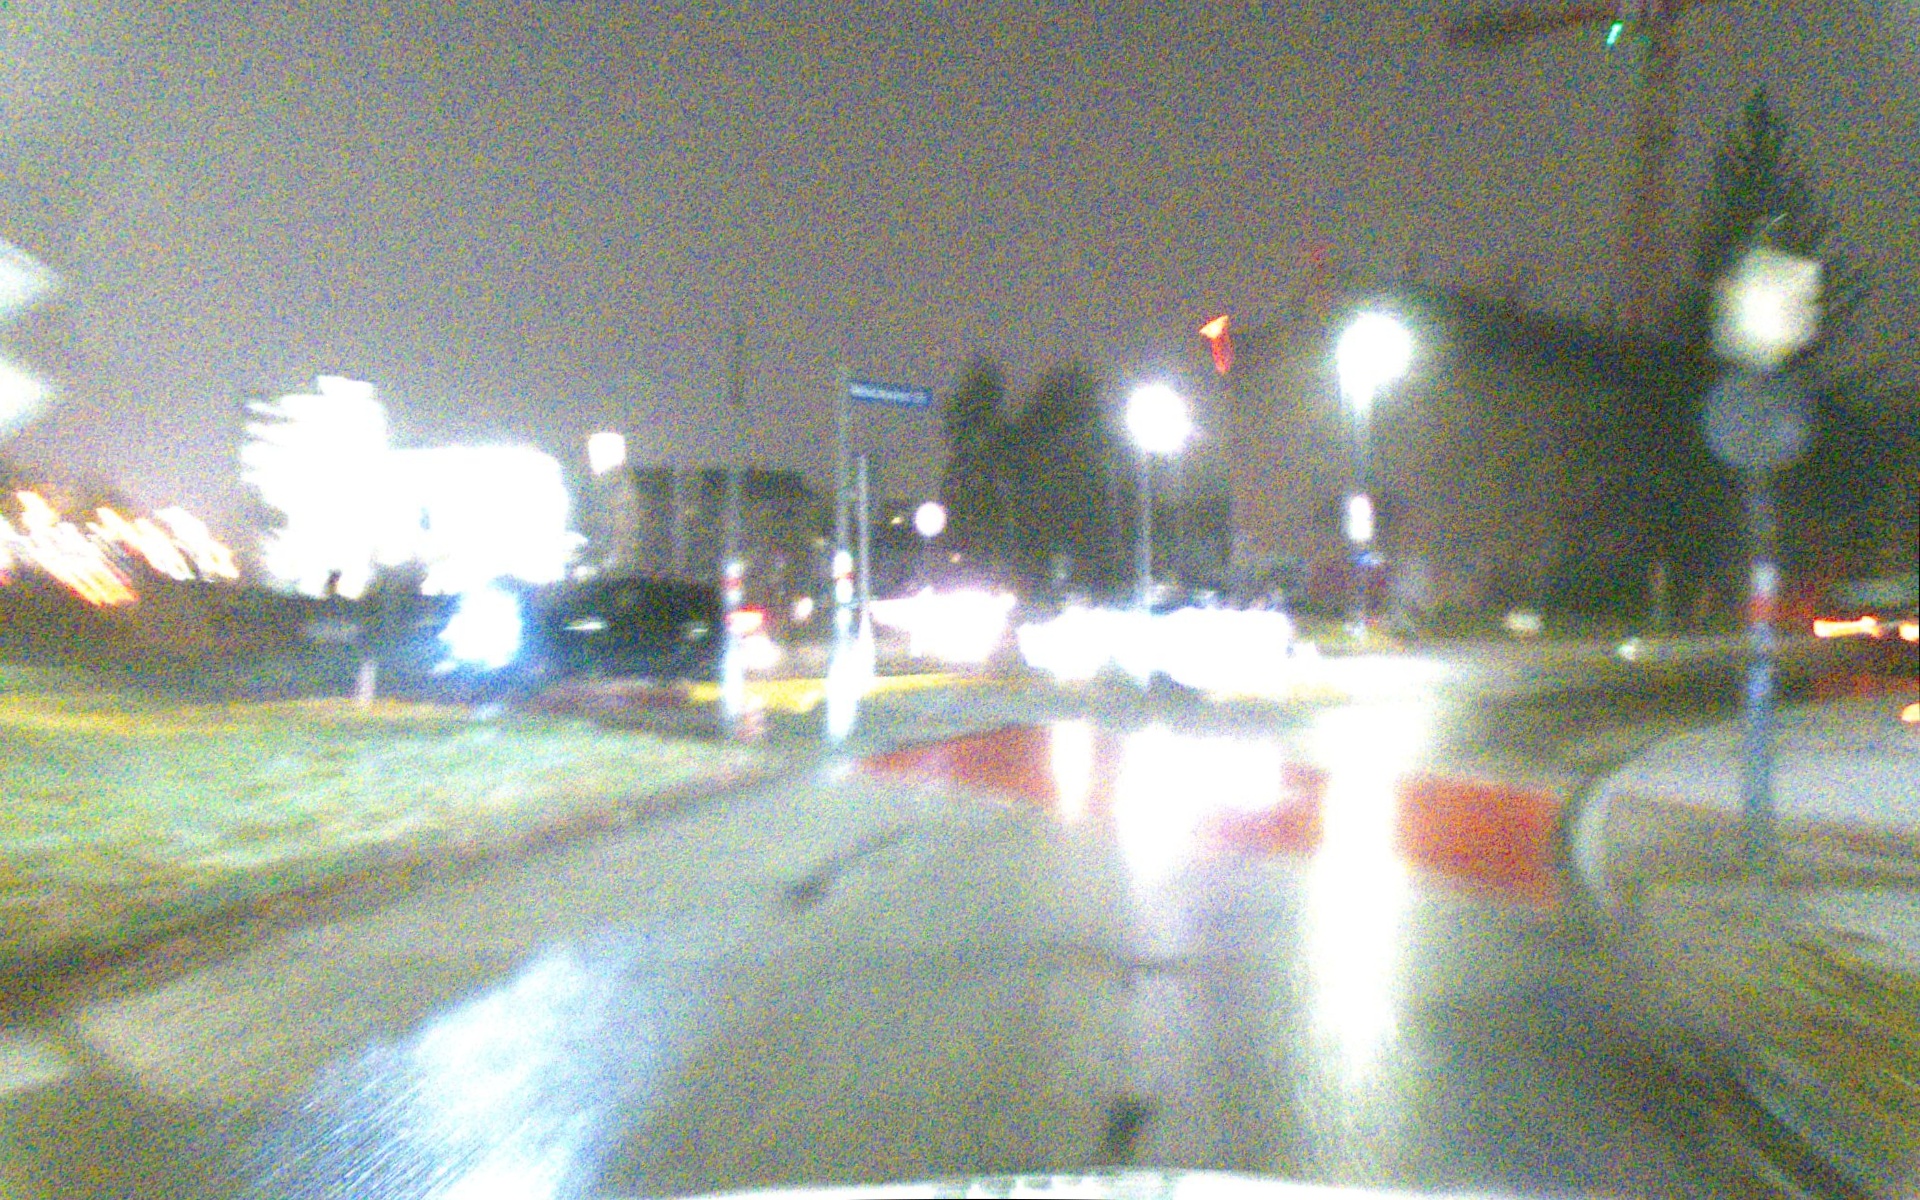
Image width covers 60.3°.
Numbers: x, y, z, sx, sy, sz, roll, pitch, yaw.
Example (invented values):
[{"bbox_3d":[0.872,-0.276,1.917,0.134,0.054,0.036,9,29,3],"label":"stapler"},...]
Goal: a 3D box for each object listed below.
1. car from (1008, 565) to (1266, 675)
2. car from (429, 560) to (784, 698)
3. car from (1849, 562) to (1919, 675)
[{"bbox_3d":[3.164,0.322,29.287,4.339,1.788,1.857,0,2,-33],"label":"car"},{"bbox_3d":[-4.978,0.356,23.411,4.556,1.766,1.980,0,2,-30],"label":"car"},{"bbox_3d":[18.962,0.318,32.218,1.964,2.048,4.533,2,2,40],"label":"car"}]
